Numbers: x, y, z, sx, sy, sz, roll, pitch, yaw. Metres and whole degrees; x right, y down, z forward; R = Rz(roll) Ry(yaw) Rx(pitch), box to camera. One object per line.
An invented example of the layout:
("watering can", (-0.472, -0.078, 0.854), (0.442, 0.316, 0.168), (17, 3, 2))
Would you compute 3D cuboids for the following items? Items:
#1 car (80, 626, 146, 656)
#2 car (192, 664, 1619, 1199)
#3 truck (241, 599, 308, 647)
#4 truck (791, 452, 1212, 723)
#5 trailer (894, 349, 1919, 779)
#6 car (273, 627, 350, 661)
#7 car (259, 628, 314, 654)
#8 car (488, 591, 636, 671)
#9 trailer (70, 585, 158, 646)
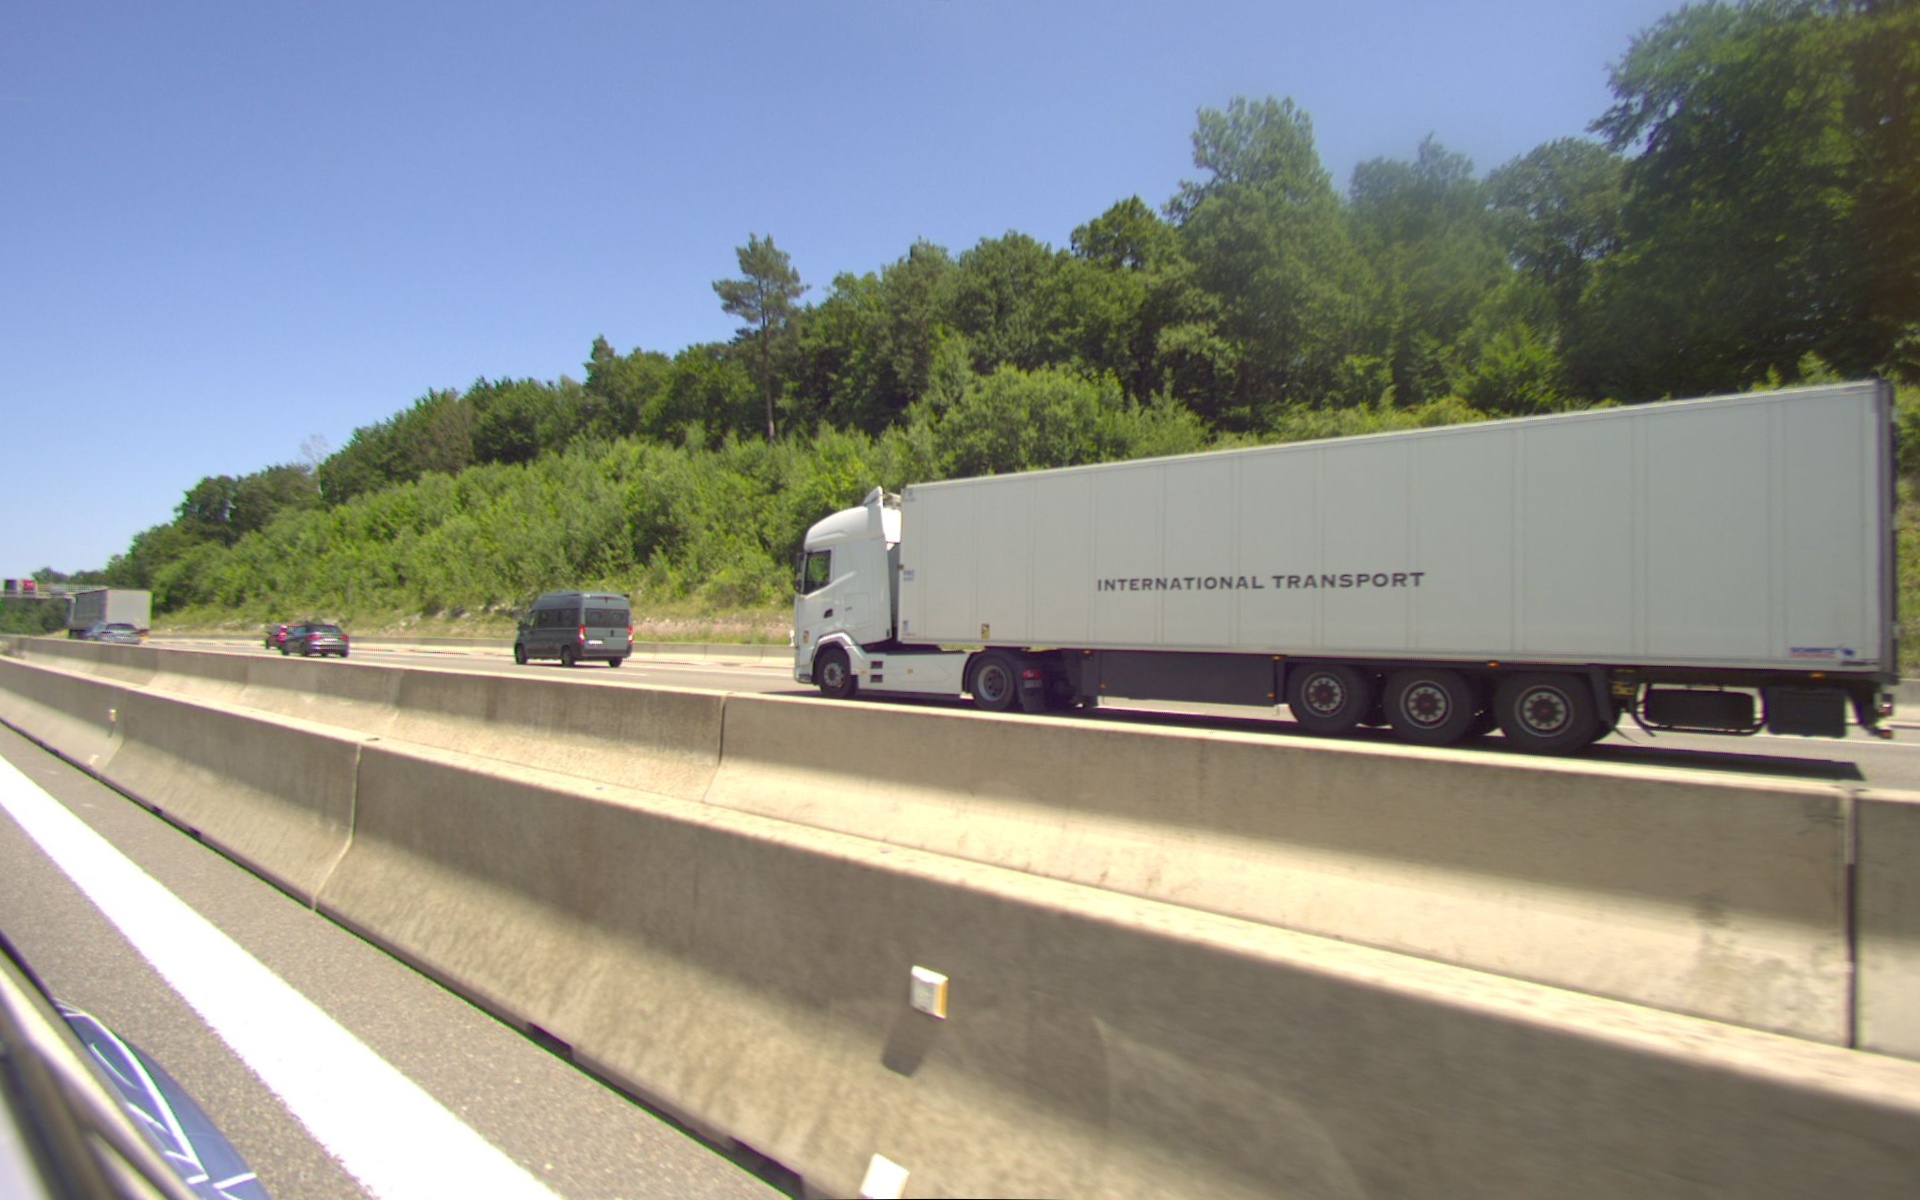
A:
("car", (-45.454, 2.138, 54.262), (5.441, 1.517, 2.005), (-1, -2, 42))
("car", (-0.602, 0.936, 2.809), (3.869, 1.393, 1.721), (-2, -2, 42))
("truck", (-60.745, 2.061, 89.628), (6.794, 4.013, 3.231), (-2, -2, 41))
("truck", (0.488, -0.097, 18.936), (7.785, 4.100, 2.864), (-1, -3, 41))
("trailer", (5.007, -0.189, 15.114), (13.830, 4.115, 2.895), (-1, -4, 41))
("car", (-28.285, 1.879, 44.079), (4.438, 1.418, 1.649), (-1, -2, 41))
("car", (-40.887, 2.479, 61.412), (3.718, 1.512, 1.851), (-2, -2, 41))
("car", (-14.617, 1.141, 36.922), (6.776, 2.684, 2.118), (-1, -3, 41))
("trailer", (-64.389, 1.310, 76.830), (13.836, 4.286, 3.067), (-2, -3, 42))
